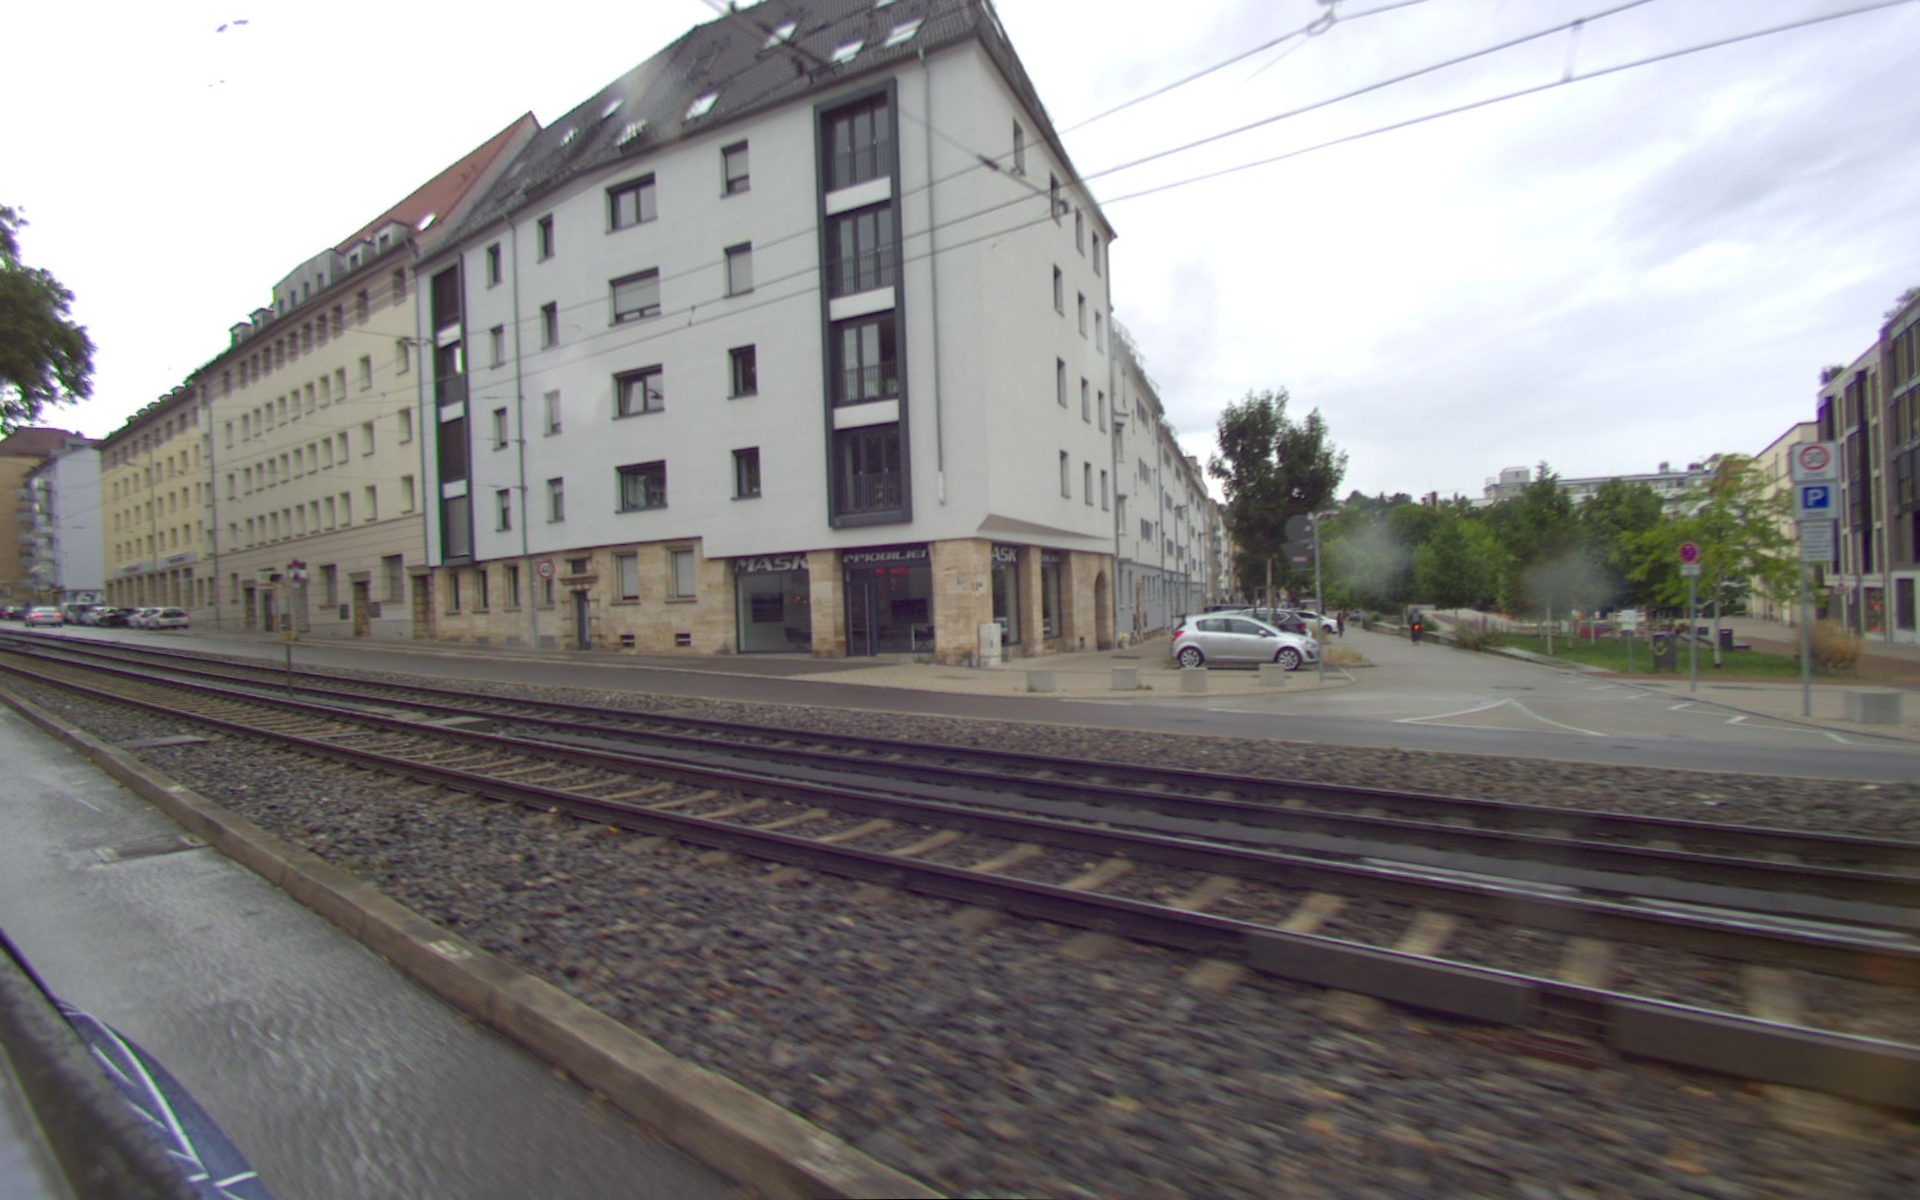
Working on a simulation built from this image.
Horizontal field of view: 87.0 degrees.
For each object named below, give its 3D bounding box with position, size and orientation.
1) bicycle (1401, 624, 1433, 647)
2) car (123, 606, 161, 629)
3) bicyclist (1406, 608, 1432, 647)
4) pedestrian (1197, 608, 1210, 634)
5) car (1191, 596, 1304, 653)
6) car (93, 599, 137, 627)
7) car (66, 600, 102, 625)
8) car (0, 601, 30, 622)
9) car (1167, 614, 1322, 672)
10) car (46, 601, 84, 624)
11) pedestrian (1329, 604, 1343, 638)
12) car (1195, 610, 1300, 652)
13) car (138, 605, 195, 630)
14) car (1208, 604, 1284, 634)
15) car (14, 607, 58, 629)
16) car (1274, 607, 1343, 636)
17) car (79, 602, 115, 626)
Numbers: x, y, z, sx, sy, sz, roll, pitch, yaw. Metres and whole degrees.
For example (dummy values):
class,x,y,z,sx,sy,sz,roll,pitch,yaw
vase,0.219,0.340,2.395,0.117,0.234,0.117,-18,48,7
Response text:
class,x,y,z,sx,sy,sz,roll,pitch,yaw
bicycle,21.644,1.676,47.952,0.726,1.036,2.009,0,-1,4
car,-56.104,1.163,69.434,3.186,1.495,1.310,0,0,37
bicyclist,21.636,1.290,47.726,0.889,1.818,0.788,0,-1,3
pedestrian,18.987,1.628,78.918,0.928,2.029,1.173,0,-1,16
car,10.766,0.884,37.838,3.970,2.029,1.928,0,-1,20
car,-61.601,0.926,73.793,4.295,1.975,1.707,0,0,40
car,-69.507,0.962,80.281,4.038,1.897,1.537,0,0,41
car,-93.523,1.107,99.722,4.221,2.029,2.006,0,0,37
car,7.592,1.114,27.163,3.883,1.431,1.592,0,0,17
car,-74.566,1.040,84.272,3.586,1.822,1.706,0,0,37
pedestrian,22.724,1.277,61.220,0.716,2.029,0.734,0,-1,16
car,11.555,1.224,40.607,3.970,1.630,1.928,0,-1,20
car,-52.482,1.151,66.927,3.994,1.554,2.006,0,0,37
car,15.874,1.043,56.169,3.970,1.630,1.928,0,-1,20
car,-69.564,1.331,76.185,5.010,1.548,1.670,0,-1,38
car,24.689,1.504,71.730,4.317,2.029,1.825,-1,-1,35
car,-65.792,1.067,77.144,3.401,1.766,1.361,0,0,37
